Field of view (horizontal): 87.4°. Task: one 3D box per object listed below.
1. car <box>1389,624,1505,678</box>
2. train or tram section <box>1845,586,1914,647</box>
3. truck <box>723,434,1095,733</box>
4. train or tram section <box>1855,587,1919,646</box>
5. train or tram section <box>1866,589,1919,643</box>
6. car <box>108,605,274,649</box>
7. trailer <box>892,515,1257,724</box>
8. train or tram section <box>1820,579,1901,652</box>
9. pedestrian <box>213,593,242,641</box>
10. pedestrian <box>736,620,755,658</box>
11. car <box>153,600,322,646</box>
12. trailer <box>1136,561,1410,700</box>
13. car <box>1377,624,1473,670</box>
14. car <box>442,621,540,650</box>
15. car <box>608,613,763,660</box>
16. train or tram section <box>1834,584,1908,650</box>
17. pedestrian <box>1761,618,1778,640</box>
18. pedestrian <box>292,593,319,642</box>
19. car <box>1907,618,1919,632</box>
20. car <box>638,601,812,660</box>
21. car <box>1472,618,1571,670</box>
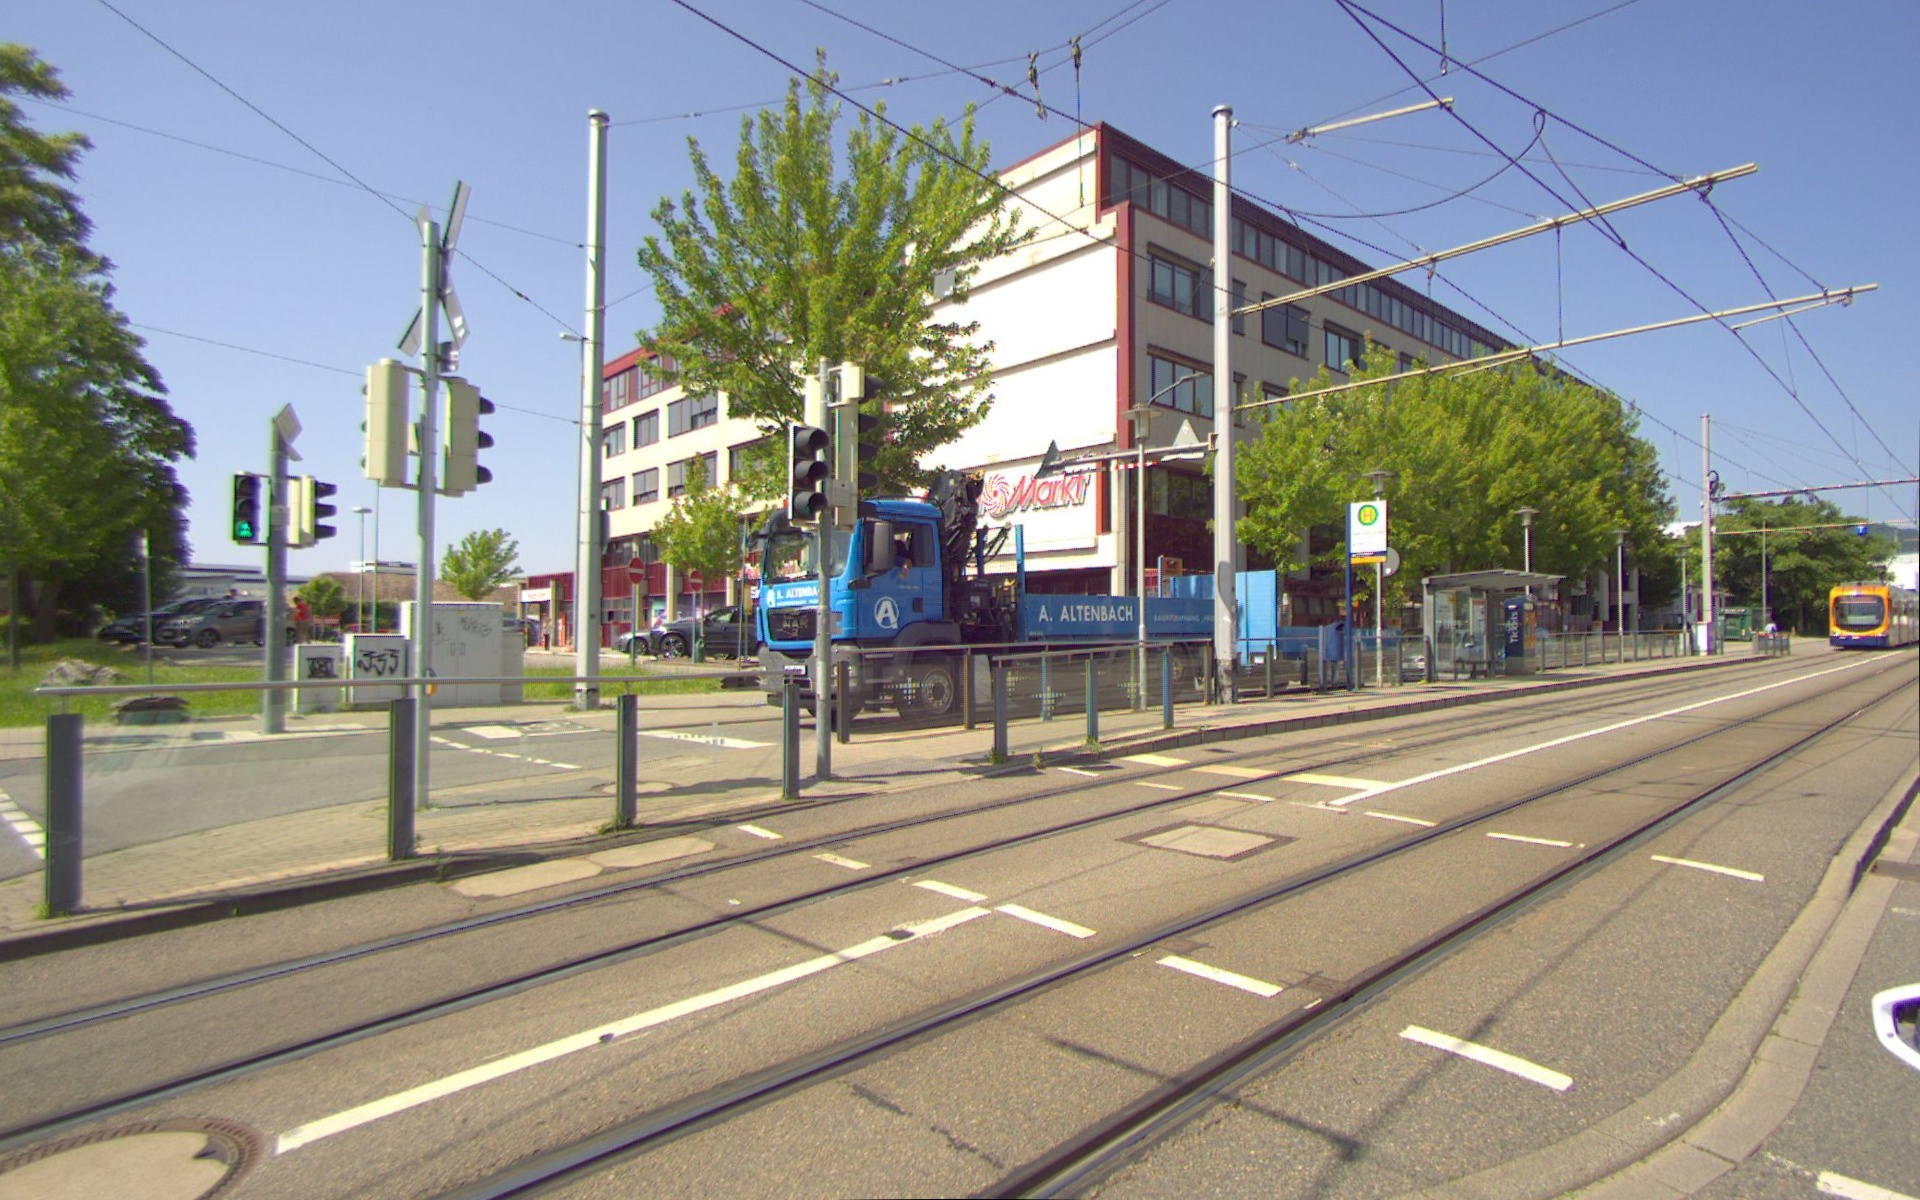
[{"bbox_3d":[14.412,1.474,29.626,4.251,1.491,1.706,1,-4,-44],"label":"car"},{"bbox_3d":[54.553,1.004,59.564,4.976,3.492,2.586,1,-2,-44],"label":"train or tram section"},{"bbox_3d":[-0.631,-0.143,15.016,5.005,3.656,2.717,1,-2,-44],"label":"truck"},{"bbox_3d":[58.925,1.086,63.739,7.087,3.492,2.556,1,-2,-44],"label":"train or tram section"},{"bbox_3d":[63.763,1.142,68.379,6.319,3.492,2.556,1,-2,-44],"label":"train or tram section"},{"bbox_3d":[-28.654,0.966,37.643,1.815,1.512,4.818,-1,0,15],"label":"car"},{"bbox_3d":[2.287,0.355,17.867,6.851,3.017,2.717,1,-2,-44],"label":"trailer"},{"bbox_3d":[46.503,0.827,51.833,5.703,3.579,2.586,1,-2,-44],"label":"train or tram section"},{"bbox_3d":[-23.791,0.560,32.620,0.556,1.547,0.753,0,-1,-20],"label":"pedestrian"},{"bbox_3d":[-7.854,1.421,36.798,0.511,1.374,0.463,0,-1,17],"label":"pedestrian"},{"bbox_3d":[-22.634,0.694,31.640,1.686,1.356,3.985,-1,0,27],"label":"car"},{"bbox_3d":[7.370,0.669,22.941,7.551,2.663,2.769,1,-2,-45],"label":"trailer"},{"bbox_3d":[16.369,1.618,35.266,3.875,1.483,1.707,1,0,-42],"label":"car"},{"bbox_3d":[-23.841,1.790,51.143,4.156,1.471,1.723,0,-1,0],"label":"car"},{"bbox_3d":[-9.343,1.257,34.446,4.773,1.512,1.919,1,-2,0],"label":"car"},{"bbox_3d":[50.674,0.970,55.812,5.803,3.492,2.586,1,-2,-44],"label":"train or tram section"},{"bbox_3d":[59.201,2.139,73.451,0.832,1.557,0.827,1,-2,-43],"label":"pedestrian"},{"bbox_3d":[-20.956,0.567,32.180,0.556,1.547,0.753,0,-1,-21],"label":"pedestrian"},{"bbox_3d":[123.358,3.215,127.799,1.742,1.773,3.997,0,-1,-5],"label":"car"},{"bbox_3d":[-7.309,1.008,31.778,5.019,1.615,2.186,2,-3,-5],"label":"car"},{"bbox_3d":[18.731,1.453,33.439,4.044,1.604,1.706,1,-5,-44],"label":"car"}]
